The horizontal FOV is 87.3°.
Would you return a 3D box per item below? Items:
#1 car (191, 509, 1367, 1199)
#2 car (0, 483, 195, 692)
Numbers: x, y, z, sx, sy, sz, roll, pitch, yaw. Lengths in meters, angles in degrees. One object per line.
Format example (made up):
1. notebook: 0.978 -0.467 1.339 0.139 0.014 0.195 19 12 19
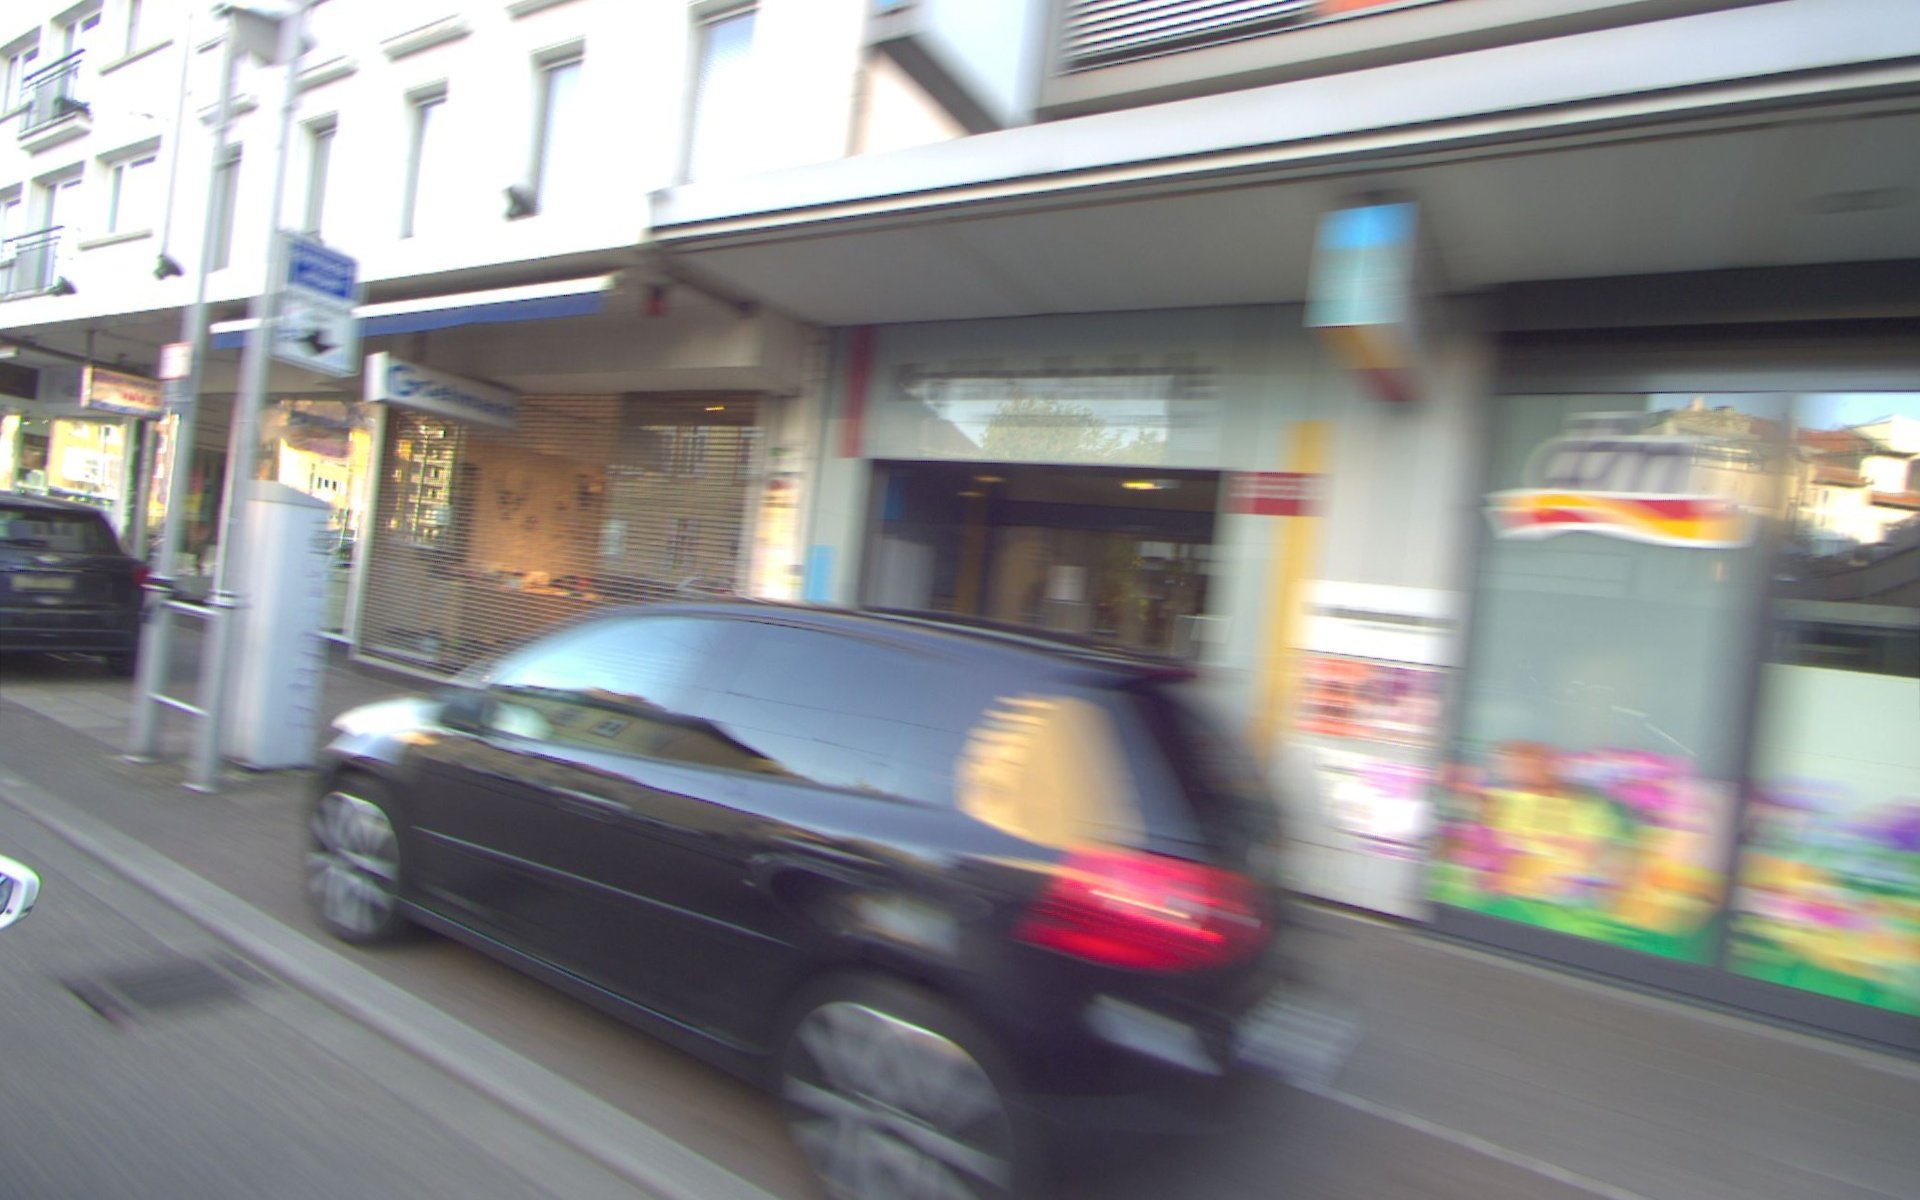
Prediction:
1. car: -0.839 0.678 3.740 4.004 1.530 1.769 6 -2 32
2. car: -8.569 -0.255 8.661 3.934 1.498 1.730 6 -2 32
